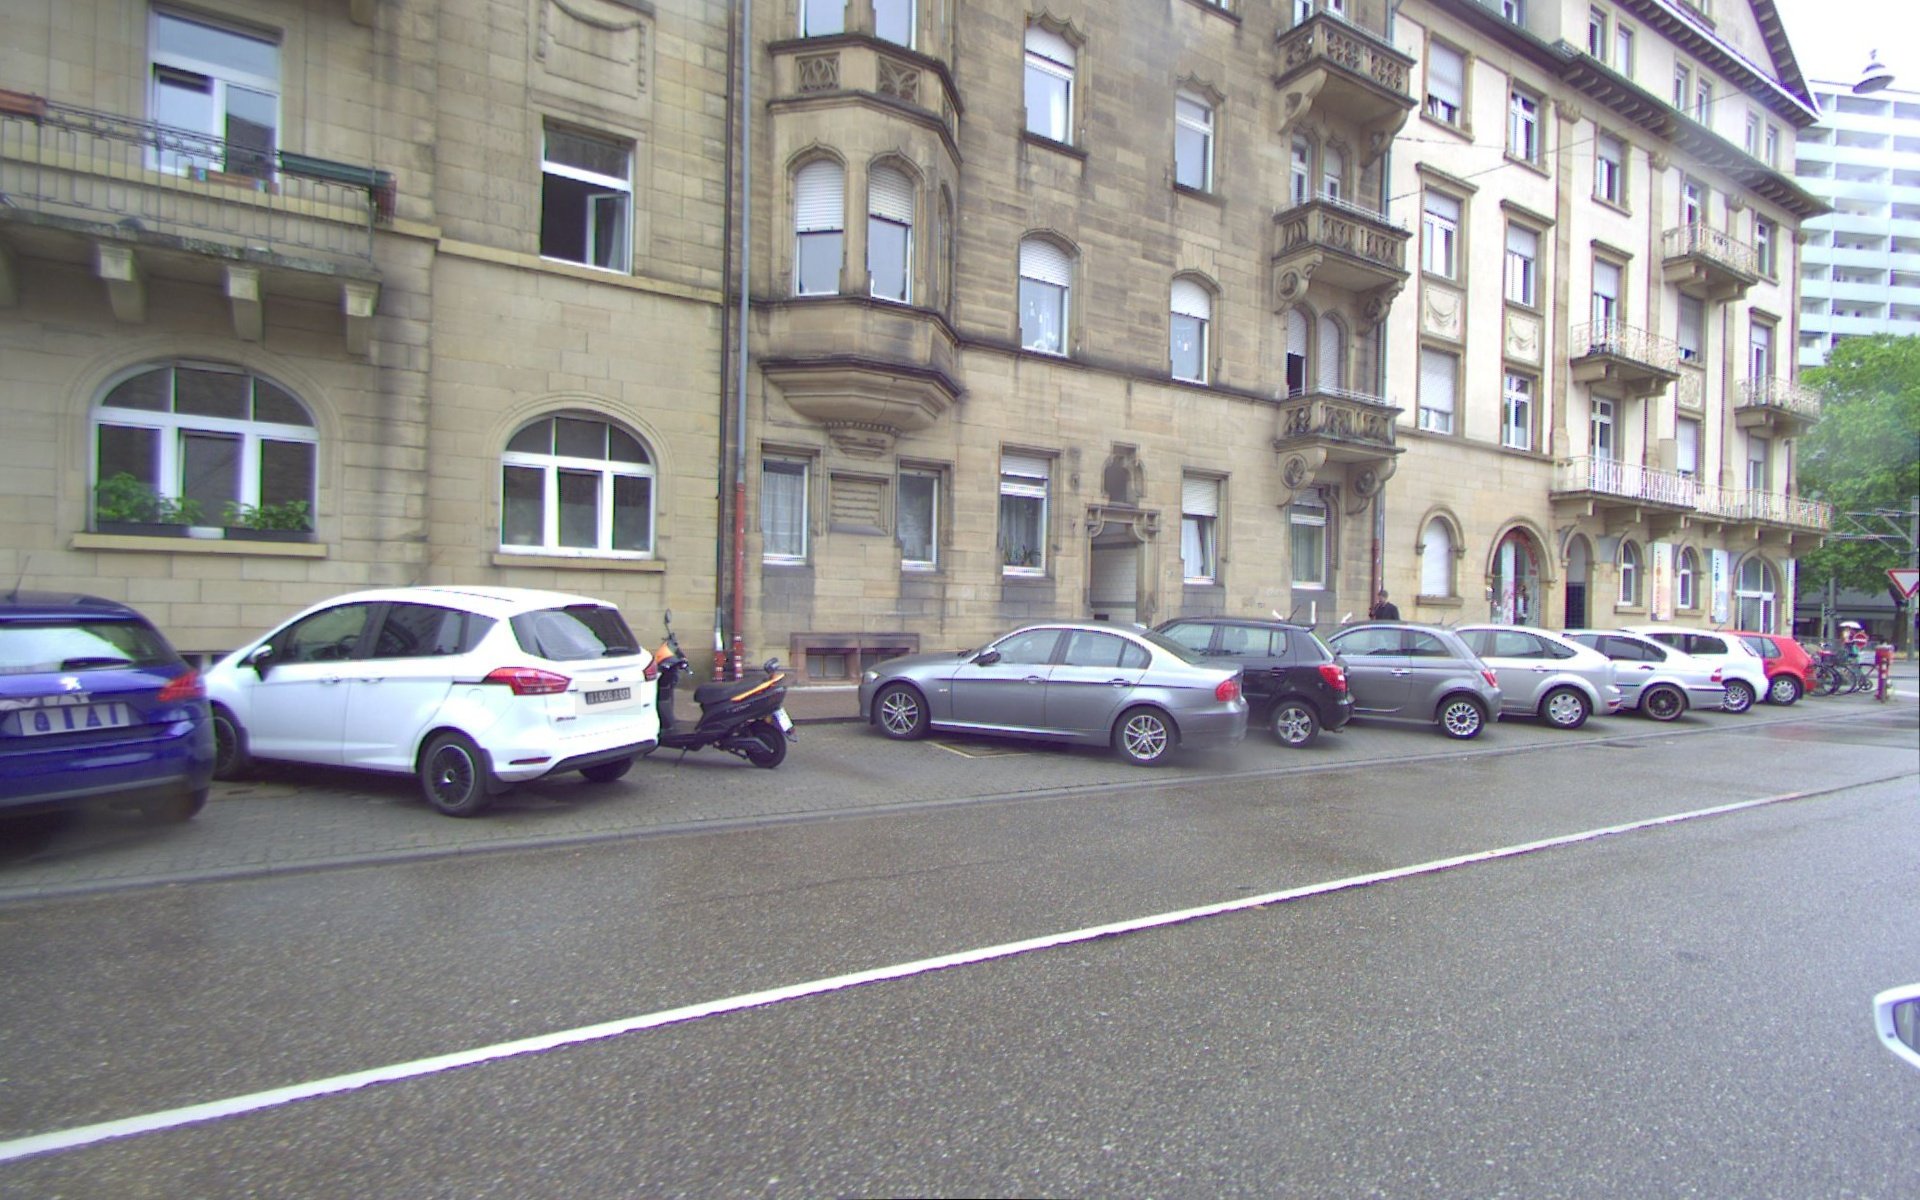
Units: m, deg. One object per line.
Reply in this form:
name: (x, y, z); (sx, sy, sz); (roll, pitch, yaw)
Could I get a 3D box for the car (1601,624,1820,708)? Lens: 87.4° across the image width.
car: (15.715, 1.335, 21.230); (3.336, 1.578, 1.706); (1, -1, 21)

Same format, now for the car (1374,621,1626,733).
car: (8.493, 1.161, 16.129); (3.336, 1.578, 1.706); (1, -1, 21)

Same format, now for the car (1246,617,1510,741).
car: (5.964, 1.070, 14.607); (3.336, 1.578, 1.652); (1, -1, 21)

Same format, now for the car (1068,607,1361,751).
car: (3.311, 0.943, 13.074); (3.484, 1.619, 1.605); (1, -1, 21)

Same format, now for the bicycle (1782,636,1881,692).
bicycle: (21.539, 1.560, 24.846); (0.601, 1.283, 1.754); (2, -1, -31)

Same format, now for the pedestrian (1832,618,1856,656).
pedestrian: (42.692, 1.782, 48.526); (0.683, 1.850, 0.618); (1, -1, -17)

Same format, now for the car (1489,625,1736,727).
car: (11.330, 1.265, 17.696); (3.336, 1.578, 1.706); (1, -1, 21)

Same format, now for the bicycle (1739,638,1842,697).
bicycle: (19.371, 1.549, 23.476); (0.493, 1.283, 1.801); (1, -1, -31)

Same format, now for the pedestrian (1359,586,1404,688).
pedestrian: (8.637, 0.758, 20.580); (0.647, 2.040, 0.565); (1, -1, -31)

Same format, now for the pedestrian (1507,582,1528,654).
pedestrian: (14.458, 0.481, 26.037); (0.343, 1.846, 0.364); (2, -2, -33)

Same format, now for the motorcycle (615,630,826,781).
motorcycle: (-2.220, 0.926, 9.282); (1.836, 1.177, 0.634); (3, 0, 23)

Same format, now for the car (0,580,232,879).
car: (-6.733, 0.691, 6.521); (3.972, 1.594, 1.795); (0, -1, 31)

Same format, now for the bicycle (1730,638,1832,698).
bicycle: (18.918, 1.543, 23.180); (0.516, 1.283, 1.754); (1, -1, -31)

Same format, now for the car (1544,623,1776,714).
car: (13.420, 1.263, 19.487); (3.336, 1.578, 1.706); (1, -1, 21)

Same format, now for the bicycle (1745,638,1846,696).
bicycle: (19.884, 1.575, 23.940); (0.493, 1.283, 1.801); (1, -1, -31)

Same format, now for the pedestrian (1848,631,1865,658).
pedestrian: (51.147, 2.538, 57.307); (0.631, 1.550, 0.443); (1, -1, -5)

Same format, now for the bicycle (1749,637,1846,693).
bicycle: (20.600, 1.587, 24.736); (0.601, 1.283, 1.754); (2, -1, -31)

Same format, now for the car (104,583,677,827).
car: (-4.497, 0.695, 8.038); (3.964, 1.576, 1.799); (0, -1, 19)

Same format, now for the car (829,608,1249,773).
car: (0.928, 0.916, 11.356); (4.457, 1.565, 1.689); (1, -1, 17)
